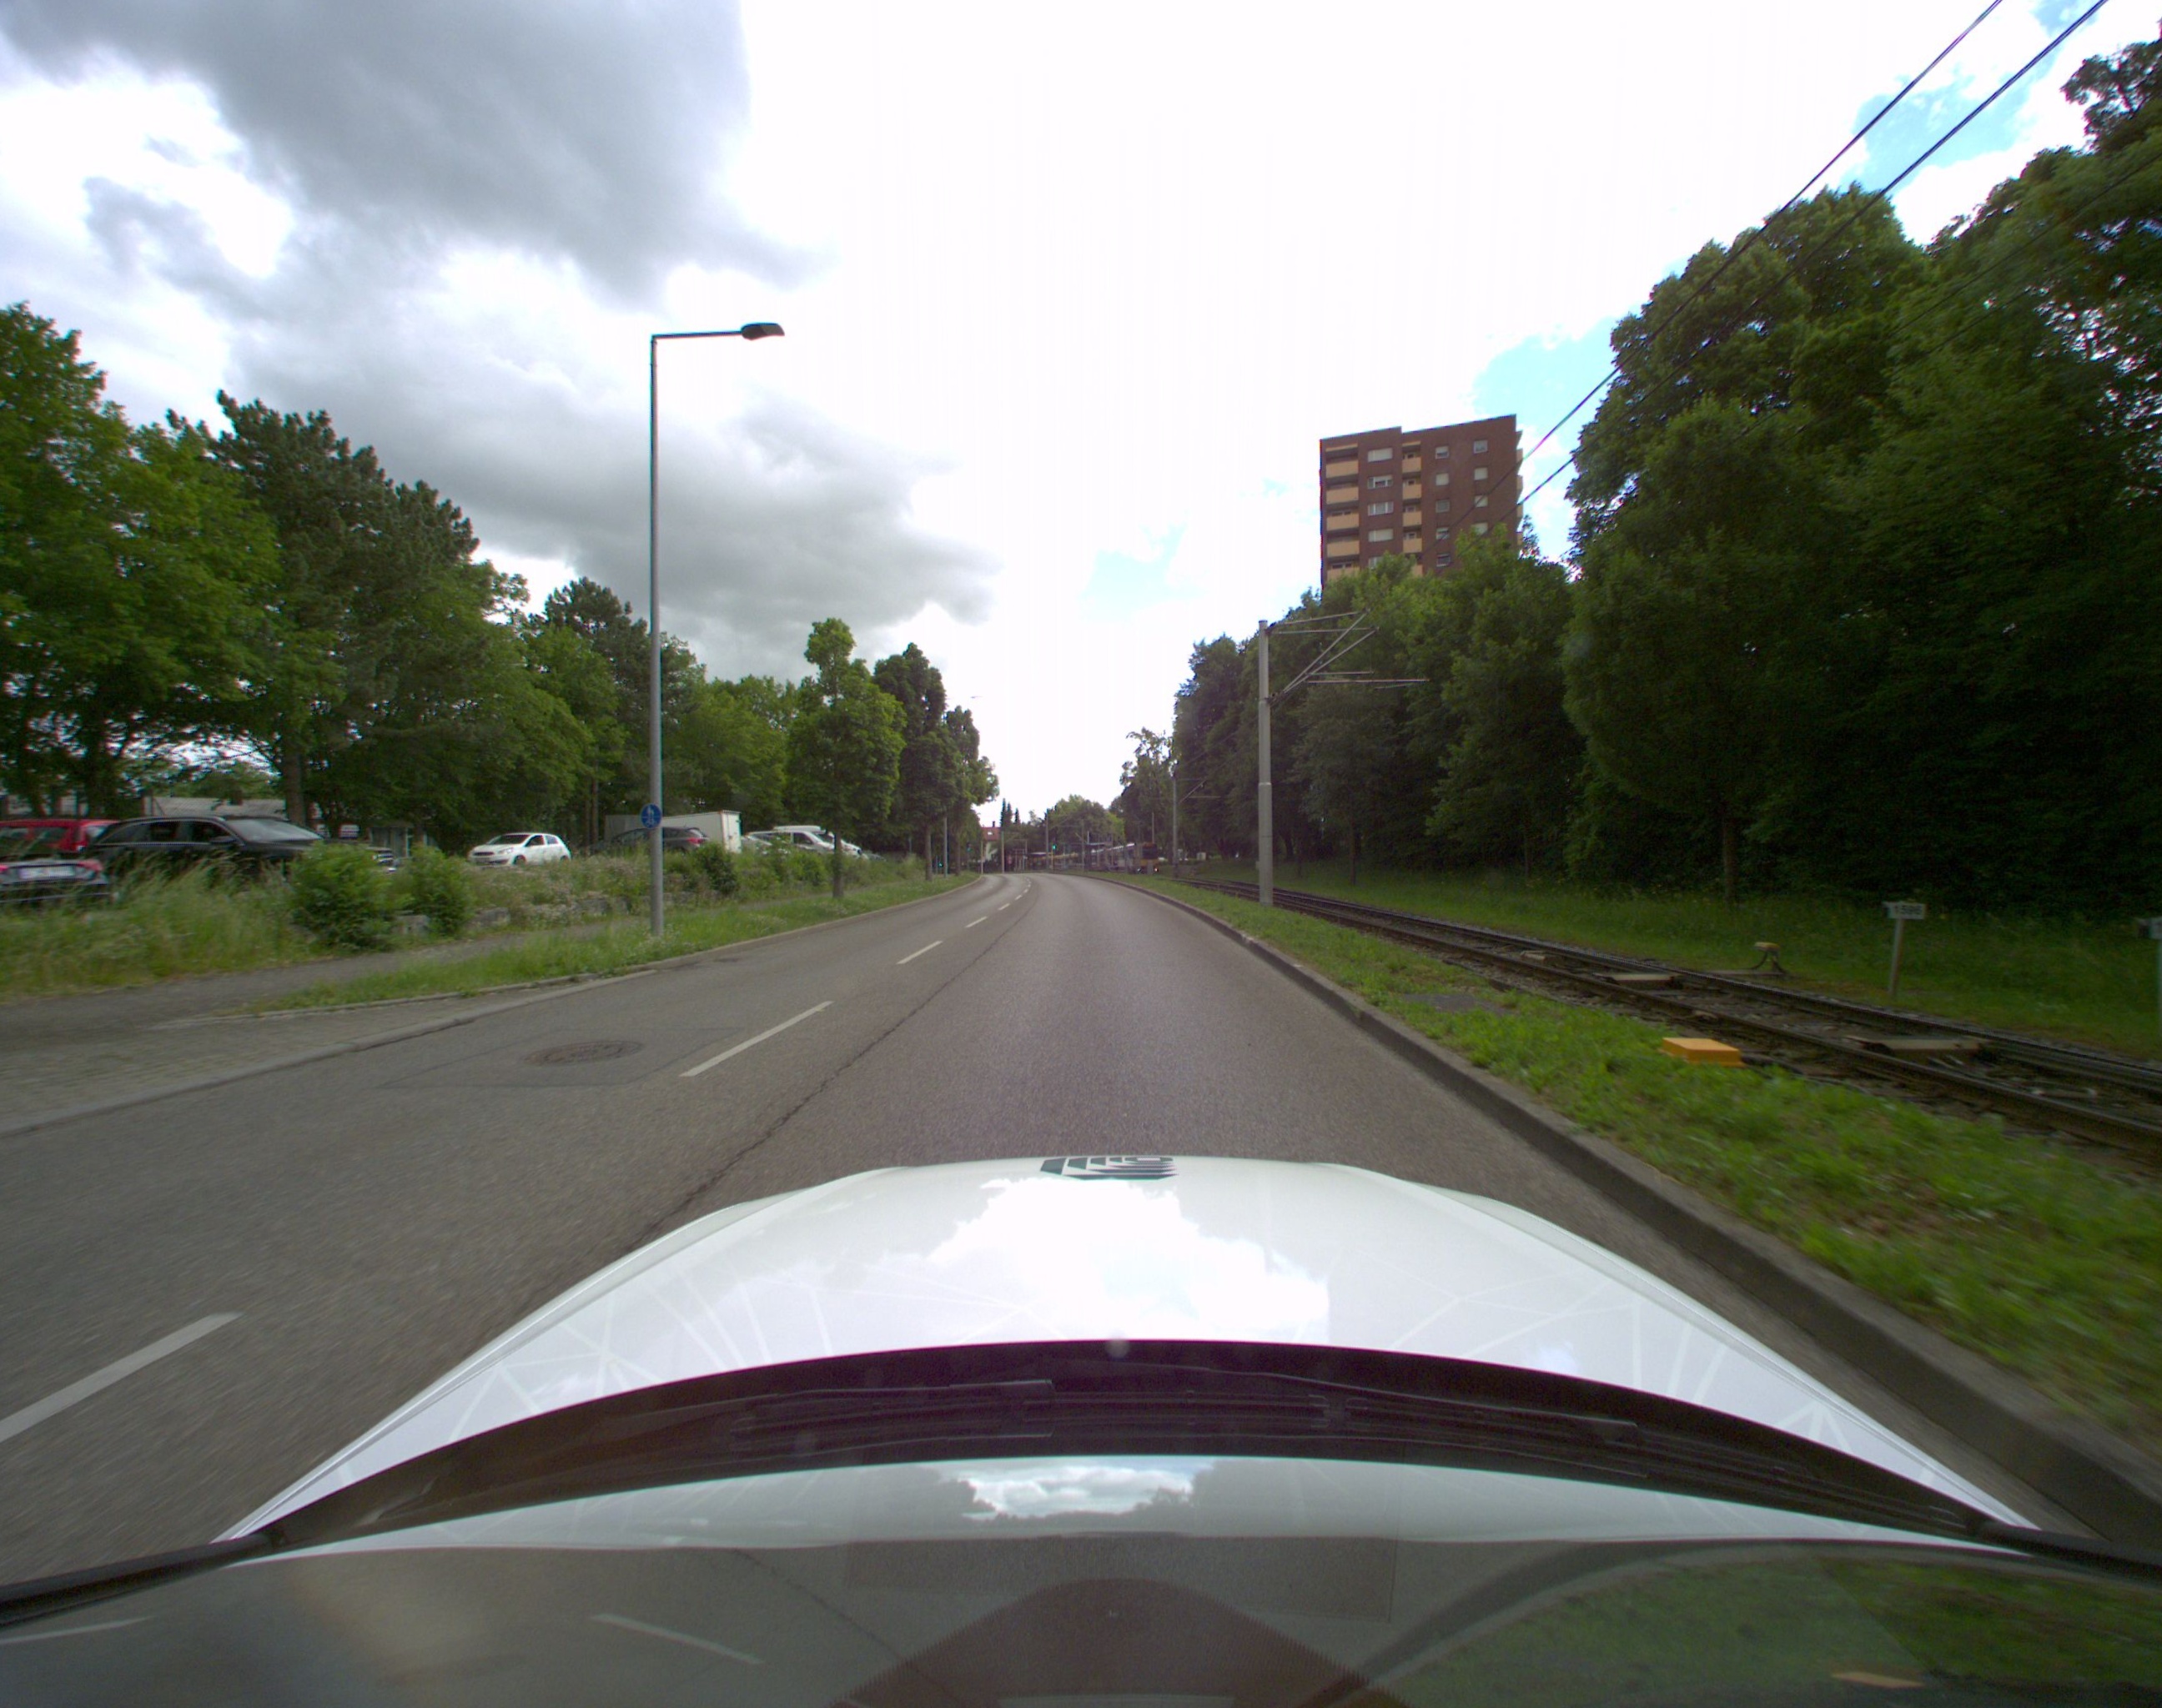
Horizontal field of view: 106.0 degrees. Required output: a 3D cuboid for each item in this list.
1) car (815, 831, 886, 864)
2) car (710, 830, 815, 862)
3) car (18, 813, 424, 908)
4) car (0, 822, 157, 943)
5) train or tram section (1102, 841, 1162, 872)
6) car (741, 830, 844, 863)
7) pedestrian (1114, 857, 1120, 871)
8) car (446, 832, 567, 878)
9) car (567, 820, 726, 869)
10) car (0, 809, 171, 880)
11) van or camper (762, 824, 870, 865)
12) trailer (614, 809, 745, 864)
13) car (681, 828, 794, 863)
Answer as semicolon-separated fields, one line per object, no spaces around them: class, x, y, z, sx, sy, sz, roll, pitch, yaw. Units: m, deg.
car;-14.732;-0.400;52.159;3.973;2.014;2.000;0;0;0
car;-15.416;-0.373;39.591;4.300;1.507;1.998;0;0;-3
car;-15.483;0.106;14.959;4.914;1.585;2.205;0;0;-3
car;-14.553;0.342;9.988;3.947;1.397;1.997;0;0;-4
train or tram section;5.923;0.296;105.428;3.002;3.311;34.653;0;0;-4
car;-15.026;-0.387;42.524;4.620;1.656;2.003;0;0;5
pedestrian;3.605;1.004;81.606;0.567;1.464;0.594;0;-1;-6
car;-21.279;0.026;30.356;1.880;1.585;3.664;0;0;0
car;-14.629;-0.311;27.597;4.305;1.448;1.832;-2;0;-6
car;-25.749;-0.223;20.137;3.983;1.662;1.995;0;0;-7
van or camper;-14.611;-0.504;45.073;5.319;2.203;1.998;0;0;-2
trailer;-15.029;-0.638;30.631;3.973;2.013;1.908;0;0;1
car;-15.553;-0.364;37.046;4.248;1.507;1.998;0;0;-3
